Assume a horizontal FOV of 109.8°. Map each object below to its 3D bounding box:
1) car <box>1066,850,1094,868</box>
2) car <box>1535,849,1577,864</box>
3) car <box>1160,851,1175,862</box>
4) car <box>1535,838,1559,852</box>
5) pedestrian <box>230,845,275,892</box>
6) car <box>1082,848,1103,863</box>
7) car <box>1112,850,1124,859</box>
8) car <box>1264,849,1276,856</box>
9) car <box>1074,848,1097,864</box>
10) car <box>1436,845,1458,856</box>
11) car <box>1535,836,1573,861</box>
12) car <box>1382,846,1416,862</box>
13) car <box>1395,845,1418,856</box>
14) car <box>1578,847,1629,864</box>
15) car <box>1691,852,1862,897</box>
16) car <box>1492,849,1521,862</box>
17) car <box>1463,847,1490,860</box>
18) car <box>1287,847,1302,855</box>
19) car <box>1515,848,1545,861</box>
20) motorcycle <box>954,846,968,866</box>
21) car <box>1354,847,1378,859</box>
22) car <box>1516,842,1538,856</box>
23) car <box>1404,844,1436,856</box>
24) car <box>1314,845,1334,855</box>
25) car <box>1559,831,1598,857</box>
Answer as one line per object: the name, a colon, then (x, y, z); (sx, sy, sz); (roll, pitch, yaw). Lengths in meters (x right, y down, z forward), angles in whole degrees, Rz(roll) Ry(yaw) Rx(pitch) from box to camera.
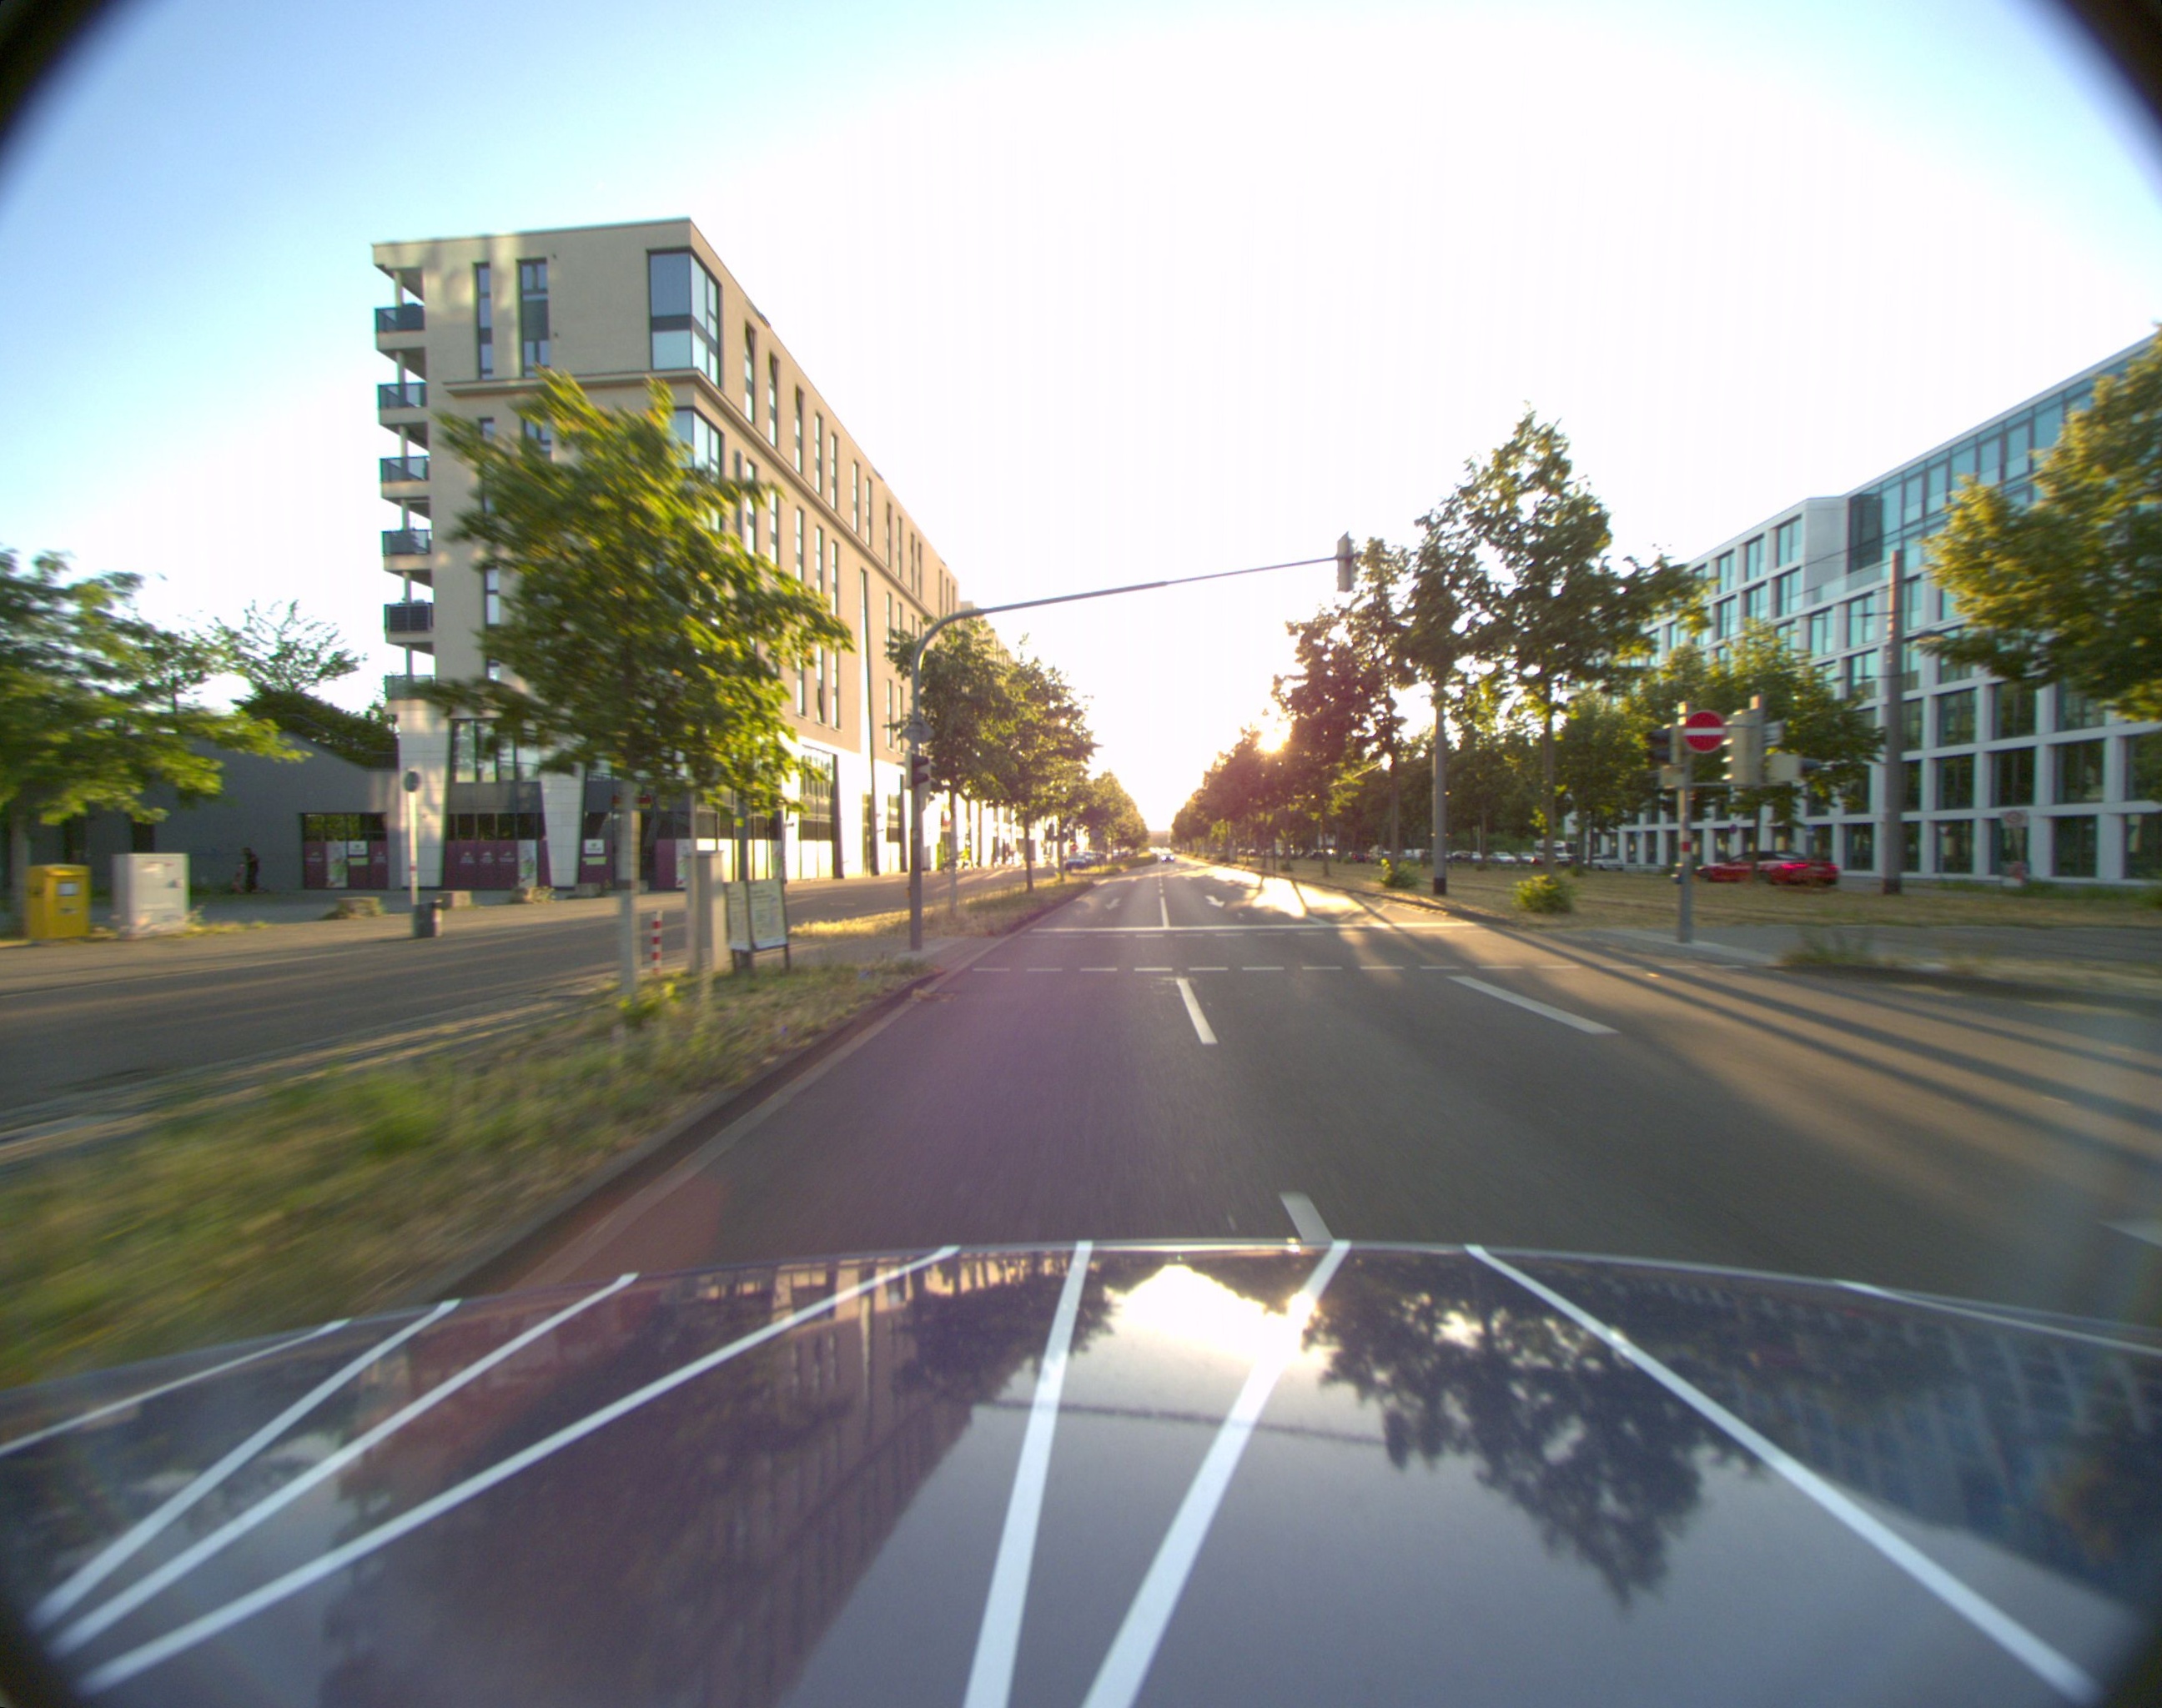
car: (-0.028, 0.408, 65.168); (1.998, 1.455, 4.001); (0, 1, 5)
car: (45.648, 0.200, 73.071); (1.763, 1.395, 4.001); (0, 1, 4)
car: (12.270, 0.333, 107.788); (1.998, 1.474, 4.336); (0, 1, 5)
car: (63.040, -1.189, 102.842); (1.849, 1.802, 4.005); (0, 1, 18)
pedestrian: (-29.987, 0.501, 27.502); (0.766, 1.673, 0.765); (0, 1, 7)
car: (1.336, 0.106, 83.419); (1.998, 1.595, 4.001); (0, 1, 5)
car: (6.555, 0.066, 134.086); (1.998, 1.595, 4.001); (0, 1, 5)
car: (36.888, -0.284, 148.083); (1.649, 1.395, 4.001); (0, 1, 4)
car: (0.511, 0.205, 76.528); (1.998, 1.595, 4.001); (0, 1, 5)
car: (56.474, -0.544, 117.325); (1.771, 1.696, 4.001); (0, 1, 5)
car: (57.667, -0.677, 92.706); (2.162, 2.974, 5.726); (0, 1, 13)
car: (28.828, -0.050, 69.022); (1.649, 1.395, 4.001); (0, 1, 4)
car: (51.659, -0.618, 120.684); (1.998, 1.731, 4.612); (0, 1, 5)
car: (44.673, 0.126, 65.047); (1.763, 1.395, 4.001); (0, 1, 4)
car: (24.949, 0.667, 27.565); (1.998, 1.426, 4.900); (0, 1, 5)
car: (51.939, 0.195, 92.789); (1.996, 1.583, 4.003); (0, 1, 12)
car: (50.250, -0.105, 96.564); (1.996, 1.583, 4.339); (0, 1, 12)
car: (35.195, -0.508, 125.159); (1.649, 1.395, 4.001); (0, 1, 4)
car: (55.020, 0.048, 93.087); (1.996, 1.583, 4.003); (0, 1, 12)
motorcycle: (-10.261, 0.144, 65.062); (0.690, 1.689, 2.124); (0, 1, 5)
car: (34.554, -0.111, 92.176); (1.649, 1.395, 4.001); (0, 1, 4)
car: (60.717, -0.685, 103.467); (1.849, 1.802, 4.005); (0, 1, 18)
car: (52.064, -0.604, 116.740); (4.081, 1.731, 2.000); (0, 1, 3)
car: (32.337, -0.541, 101.394); (1.649, 1.395, 4.001); (0, 1, 4)
car: (60.478, -1.190, 92.491); (2.162, 2.974, 5.726); (0, 1, 13)
